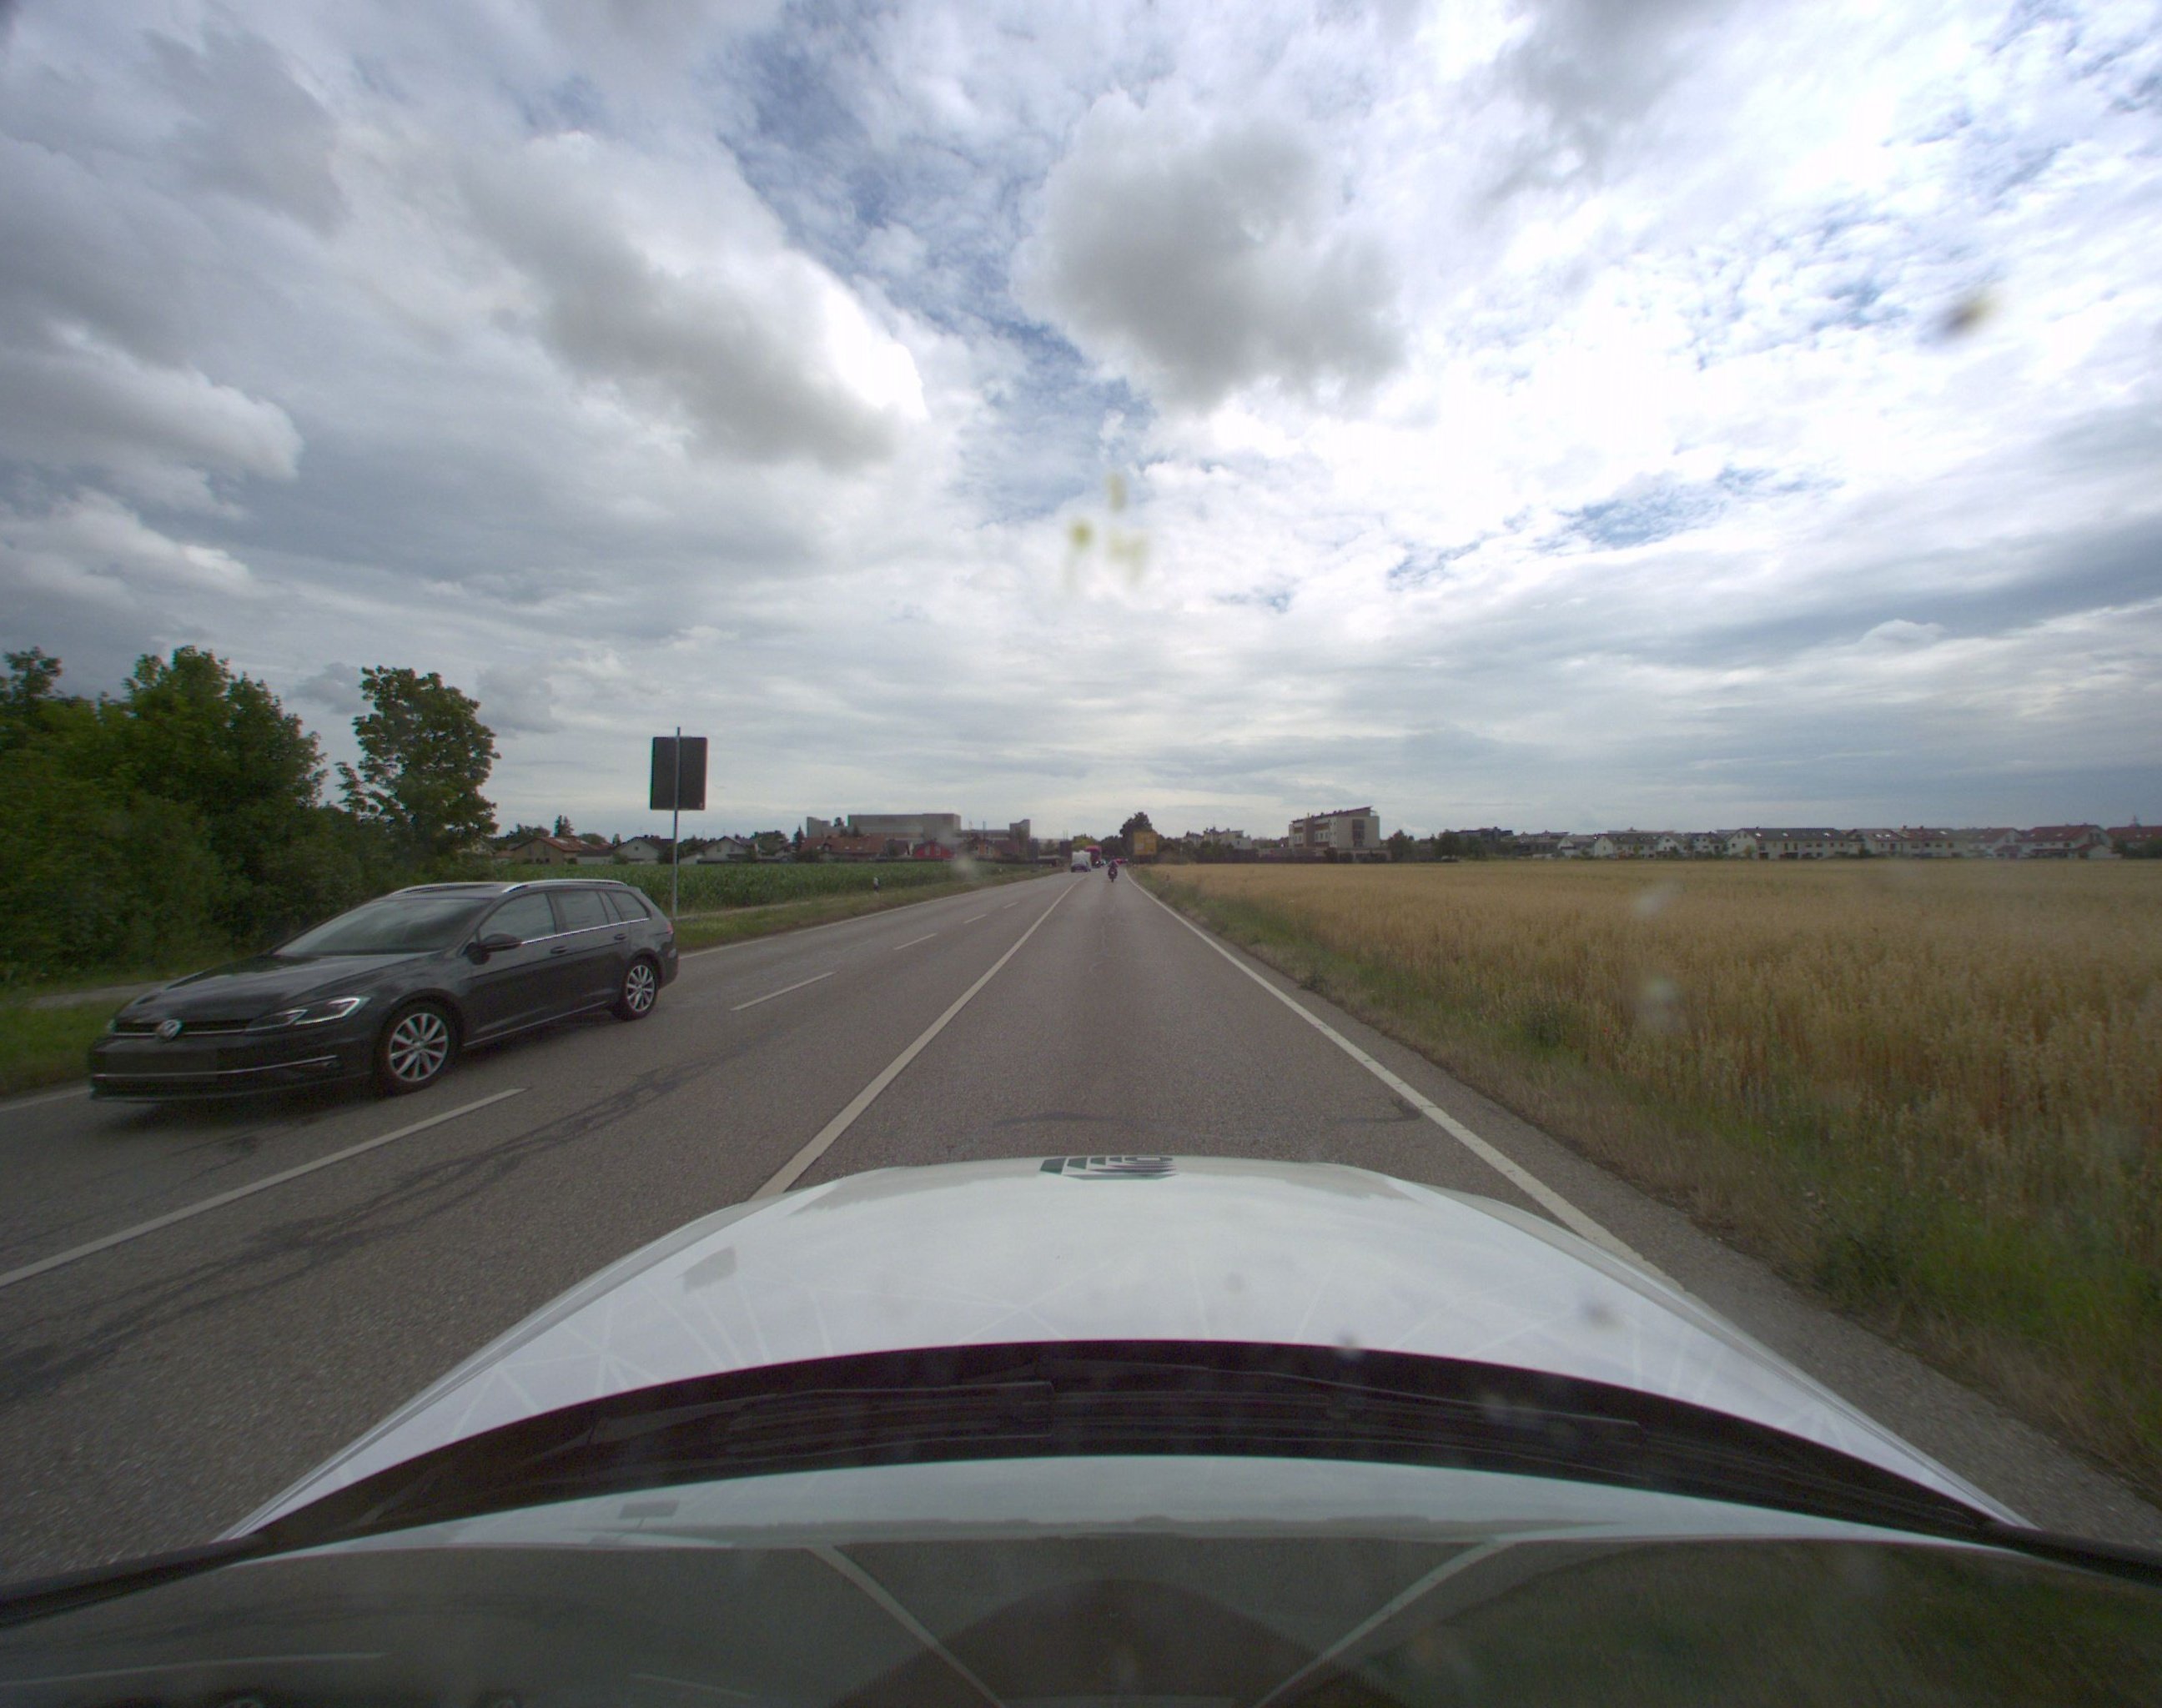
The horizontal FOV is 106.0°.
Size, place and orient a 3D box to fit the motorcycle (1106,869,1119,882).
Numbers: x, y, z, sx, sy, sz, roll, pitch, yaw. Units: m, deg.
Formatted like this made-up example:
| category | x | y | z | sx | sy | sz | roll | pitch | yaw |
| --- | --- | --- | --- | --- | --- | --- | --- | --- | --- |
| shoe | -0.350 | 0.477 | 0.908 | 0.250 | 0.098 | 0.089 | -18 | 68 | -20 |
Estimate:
| category | x | y | z | sx | sy | sz | roll | pitch | yaw |
| --- | --- | --- | --- | --- | --- | --- | --- | --- | --- |
| motorcycle | 2.224 | 1.519 | 57.312 | 0.937 | 0.890 | 2.147 | -1 | -1 | 3 |

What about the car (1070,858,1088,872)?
| category | x | y | z | sx | sy | sz | roll | pitch | yaw |
| --- | --- | --- | --- | --- | --- | --- | --- | --- | --- |
| car | -0.173 | 1.305 | 101.295 | 1.985 | 1.699 | 4.678 | -1 | -1 | 2 |

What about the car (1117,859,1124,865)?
| category | x | y | z | sx | sy | sz | roll | pitch | yaw |
| --- | --- | --- | --- | --- | --- | --- | --- | --- | --- |
| car | 10.513 | 2.167 | 218.056 | 1.847 | 1.472 | 4.003 | -1 | -1 | 3 |

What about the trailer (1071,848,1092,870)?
| category | x | y | z | sx | sy | sz | roll | pitch | yaw |
| --- | --- | --- | --- | --- | --- | --- | --- | --- | --- |
| trailer | 0.130 | 0.657 | 107.430 | 2.314 | 2.729 | 7.849 | -1 | -1 | 3 |

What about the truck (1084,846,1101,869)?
| category | x | y | z | sx | sy | sz | roll | pitch | yaw |
| --- | --- | --- | --- | --- | --- | --- | --- | --- | --- |
| truck | 2.148 | 0.704 | 147.796 | 2.718 | 3.987 | 6.821 | -1 | -1 | 3 |

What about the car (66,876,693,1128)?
| category | x | y | z | sx | sy | sz | roll | pitch | yaw |
| --- | --- | --- | --- | --- | --- | --- | --- | --- | --- |
| car | -5.391 | 0.975 | 7.206 | 1.662 | 1.429 | 4.305 | -2 | -1 | 2 |

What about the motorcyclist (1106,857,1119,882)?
| category | x | y | z | sx | sy | sz | roll | pitch | yaw |
| --- | --- | --- | --- | --- | --- | --- | --- | --- | --- |
| motorcyclist | 2.225 | 1.080 | 57.312 | 0.937 | 1.750 | 1.201 | -1 | -1 | 2 |
